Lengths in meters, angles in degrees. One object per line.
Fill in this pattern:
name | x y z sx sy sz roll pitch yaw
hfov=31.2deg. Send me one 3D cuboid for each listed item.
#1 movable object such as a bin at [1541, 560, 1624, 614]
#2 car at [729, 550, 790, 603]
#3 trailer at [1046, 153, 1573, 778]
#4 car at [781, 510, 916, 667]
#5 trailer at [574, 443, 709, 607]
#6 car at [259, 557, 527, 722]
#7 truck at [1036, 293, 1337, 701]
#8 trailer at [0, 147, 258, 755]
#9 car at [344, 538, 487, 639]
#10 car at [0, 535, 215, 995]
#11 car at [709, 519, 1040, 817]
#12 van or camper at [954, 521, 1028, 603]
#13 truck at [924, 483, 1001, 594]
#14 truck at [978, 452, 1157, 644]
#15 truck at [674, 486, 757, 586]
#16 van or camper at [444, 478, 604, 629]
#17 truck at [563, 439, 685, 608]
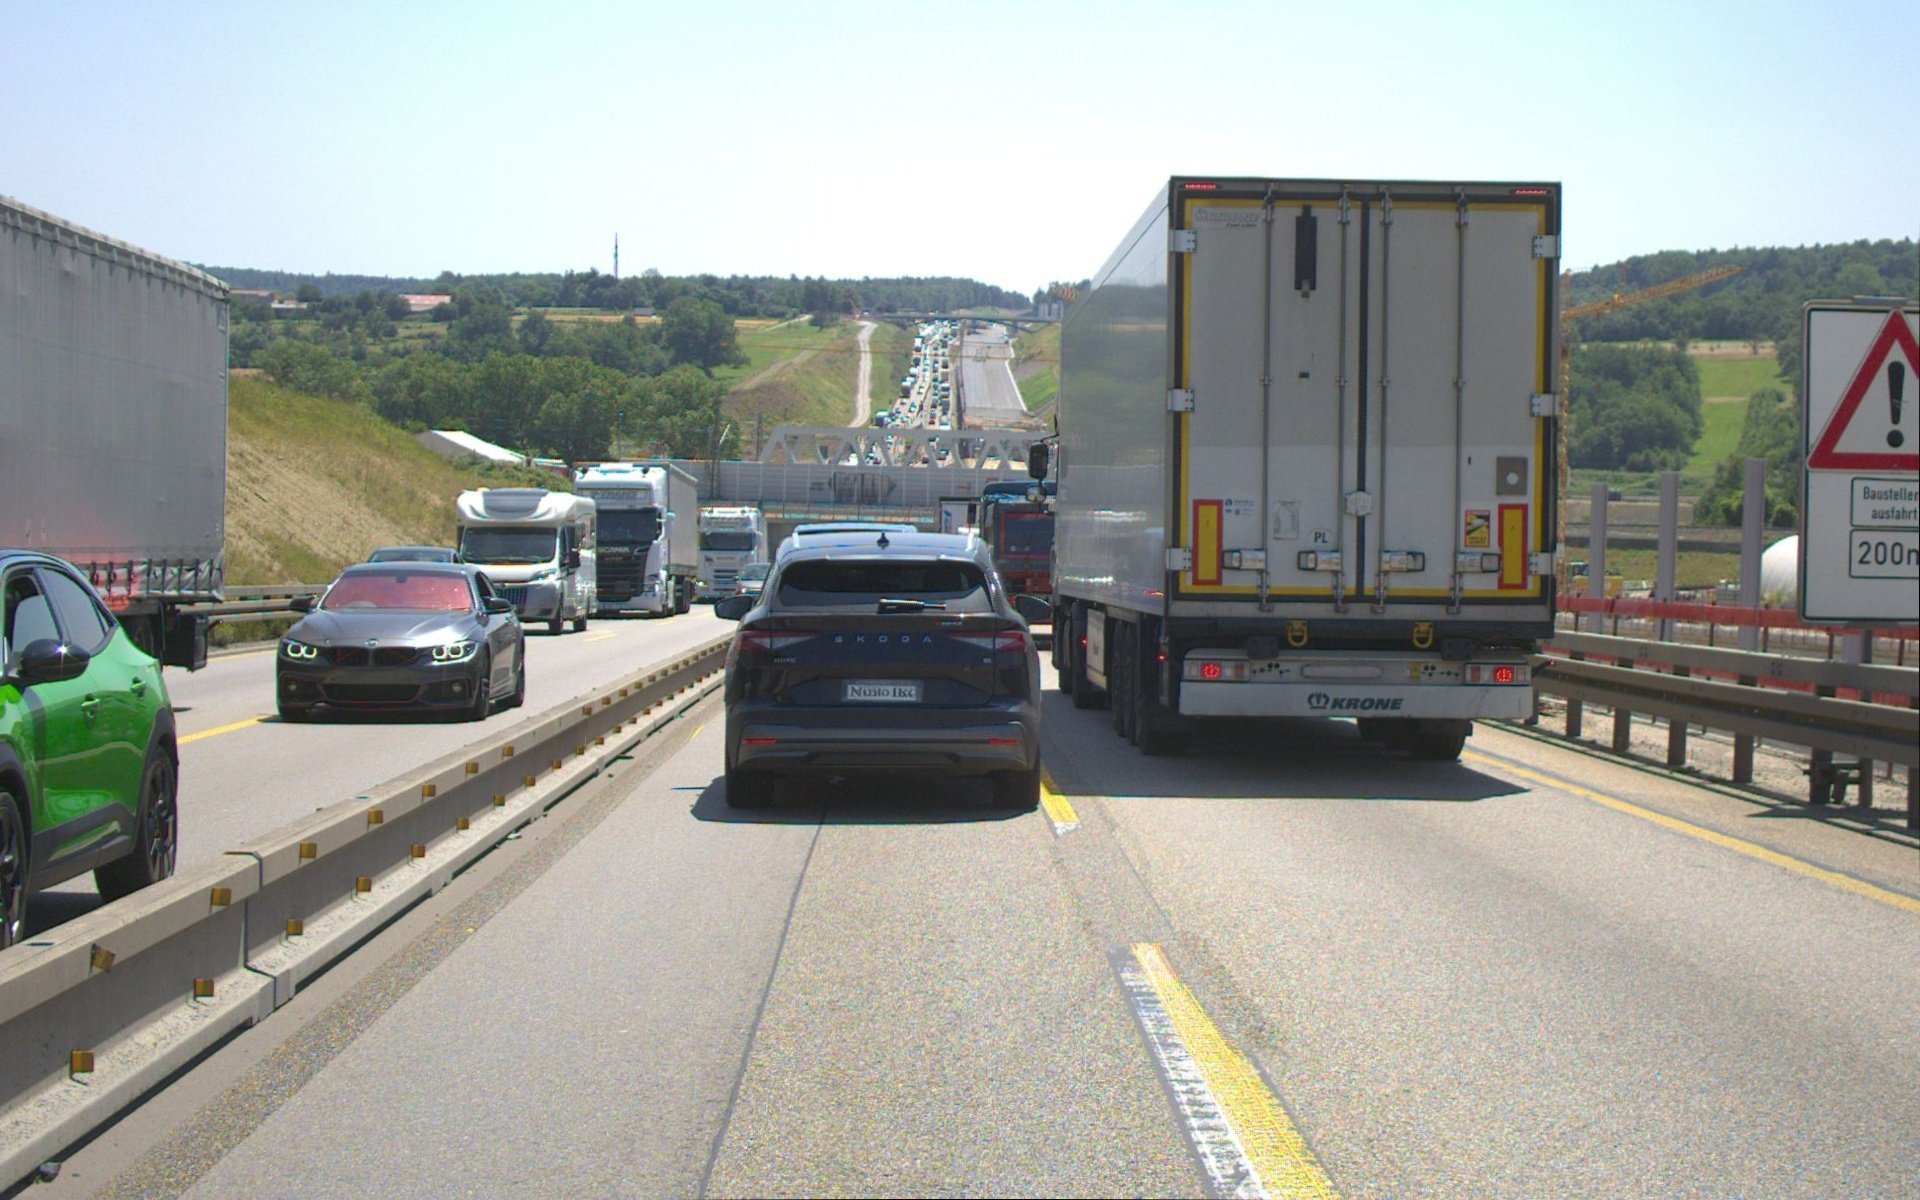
movable object such as a bin | 34.626 -0.720 191.510 2.887 2.899 9.479 1 0 0
car | -5.773 -0.698 99.254 1.628 1.474 3.380 1 1 -1
trailer | 2.448 -0.886 29.412 2.801 4.044 14.117 0 0 -1
car | -1.322 -0.158 41.717 1.475 1.789 3.298 1 1 0
trailer | -8.908 -2.064 97.719 2.810 4.272 14.036 1 1 -1
car | -5.041 0.304 31.065 1.767 1.358 4.412 1 1 -1
truck | 2.305 -1.029 36.654 2.776 4.044 4.904 0 0 -1
trailer | -7.978 -1.063 25.876 2.856 4.110 13.438 1 1 -1
car | -8.717 -0.213 55.342 1.716 1.546 4.265 0 1 -1
car | -4.057 0.508 12.657 1.754 1.503 4.000 2 1 -1
car | -0.492 0.344 20.485 1.800 1.615 3.298 1 1 -1
van or camper | 0.860 -1.107 98.530 1.993 2.237 4.000 2 1 0
truck | 0.050 -2.283 128.197 2.517 3.946 7.600 2 1 -1
truck | 1.792 -0.871 62.702 2.814 3.124 12.838 0 0 0
truck | -10.348 -2.680 145.877 3.239 4.146 4.247 0 0 -1
van or camper | -8.479 -0.919 67.527 2.334 2.768 7.518 1 1 -1
truck | -8.752 -1.979 90.067 2.774 4.272 4.677 1 1 -1
